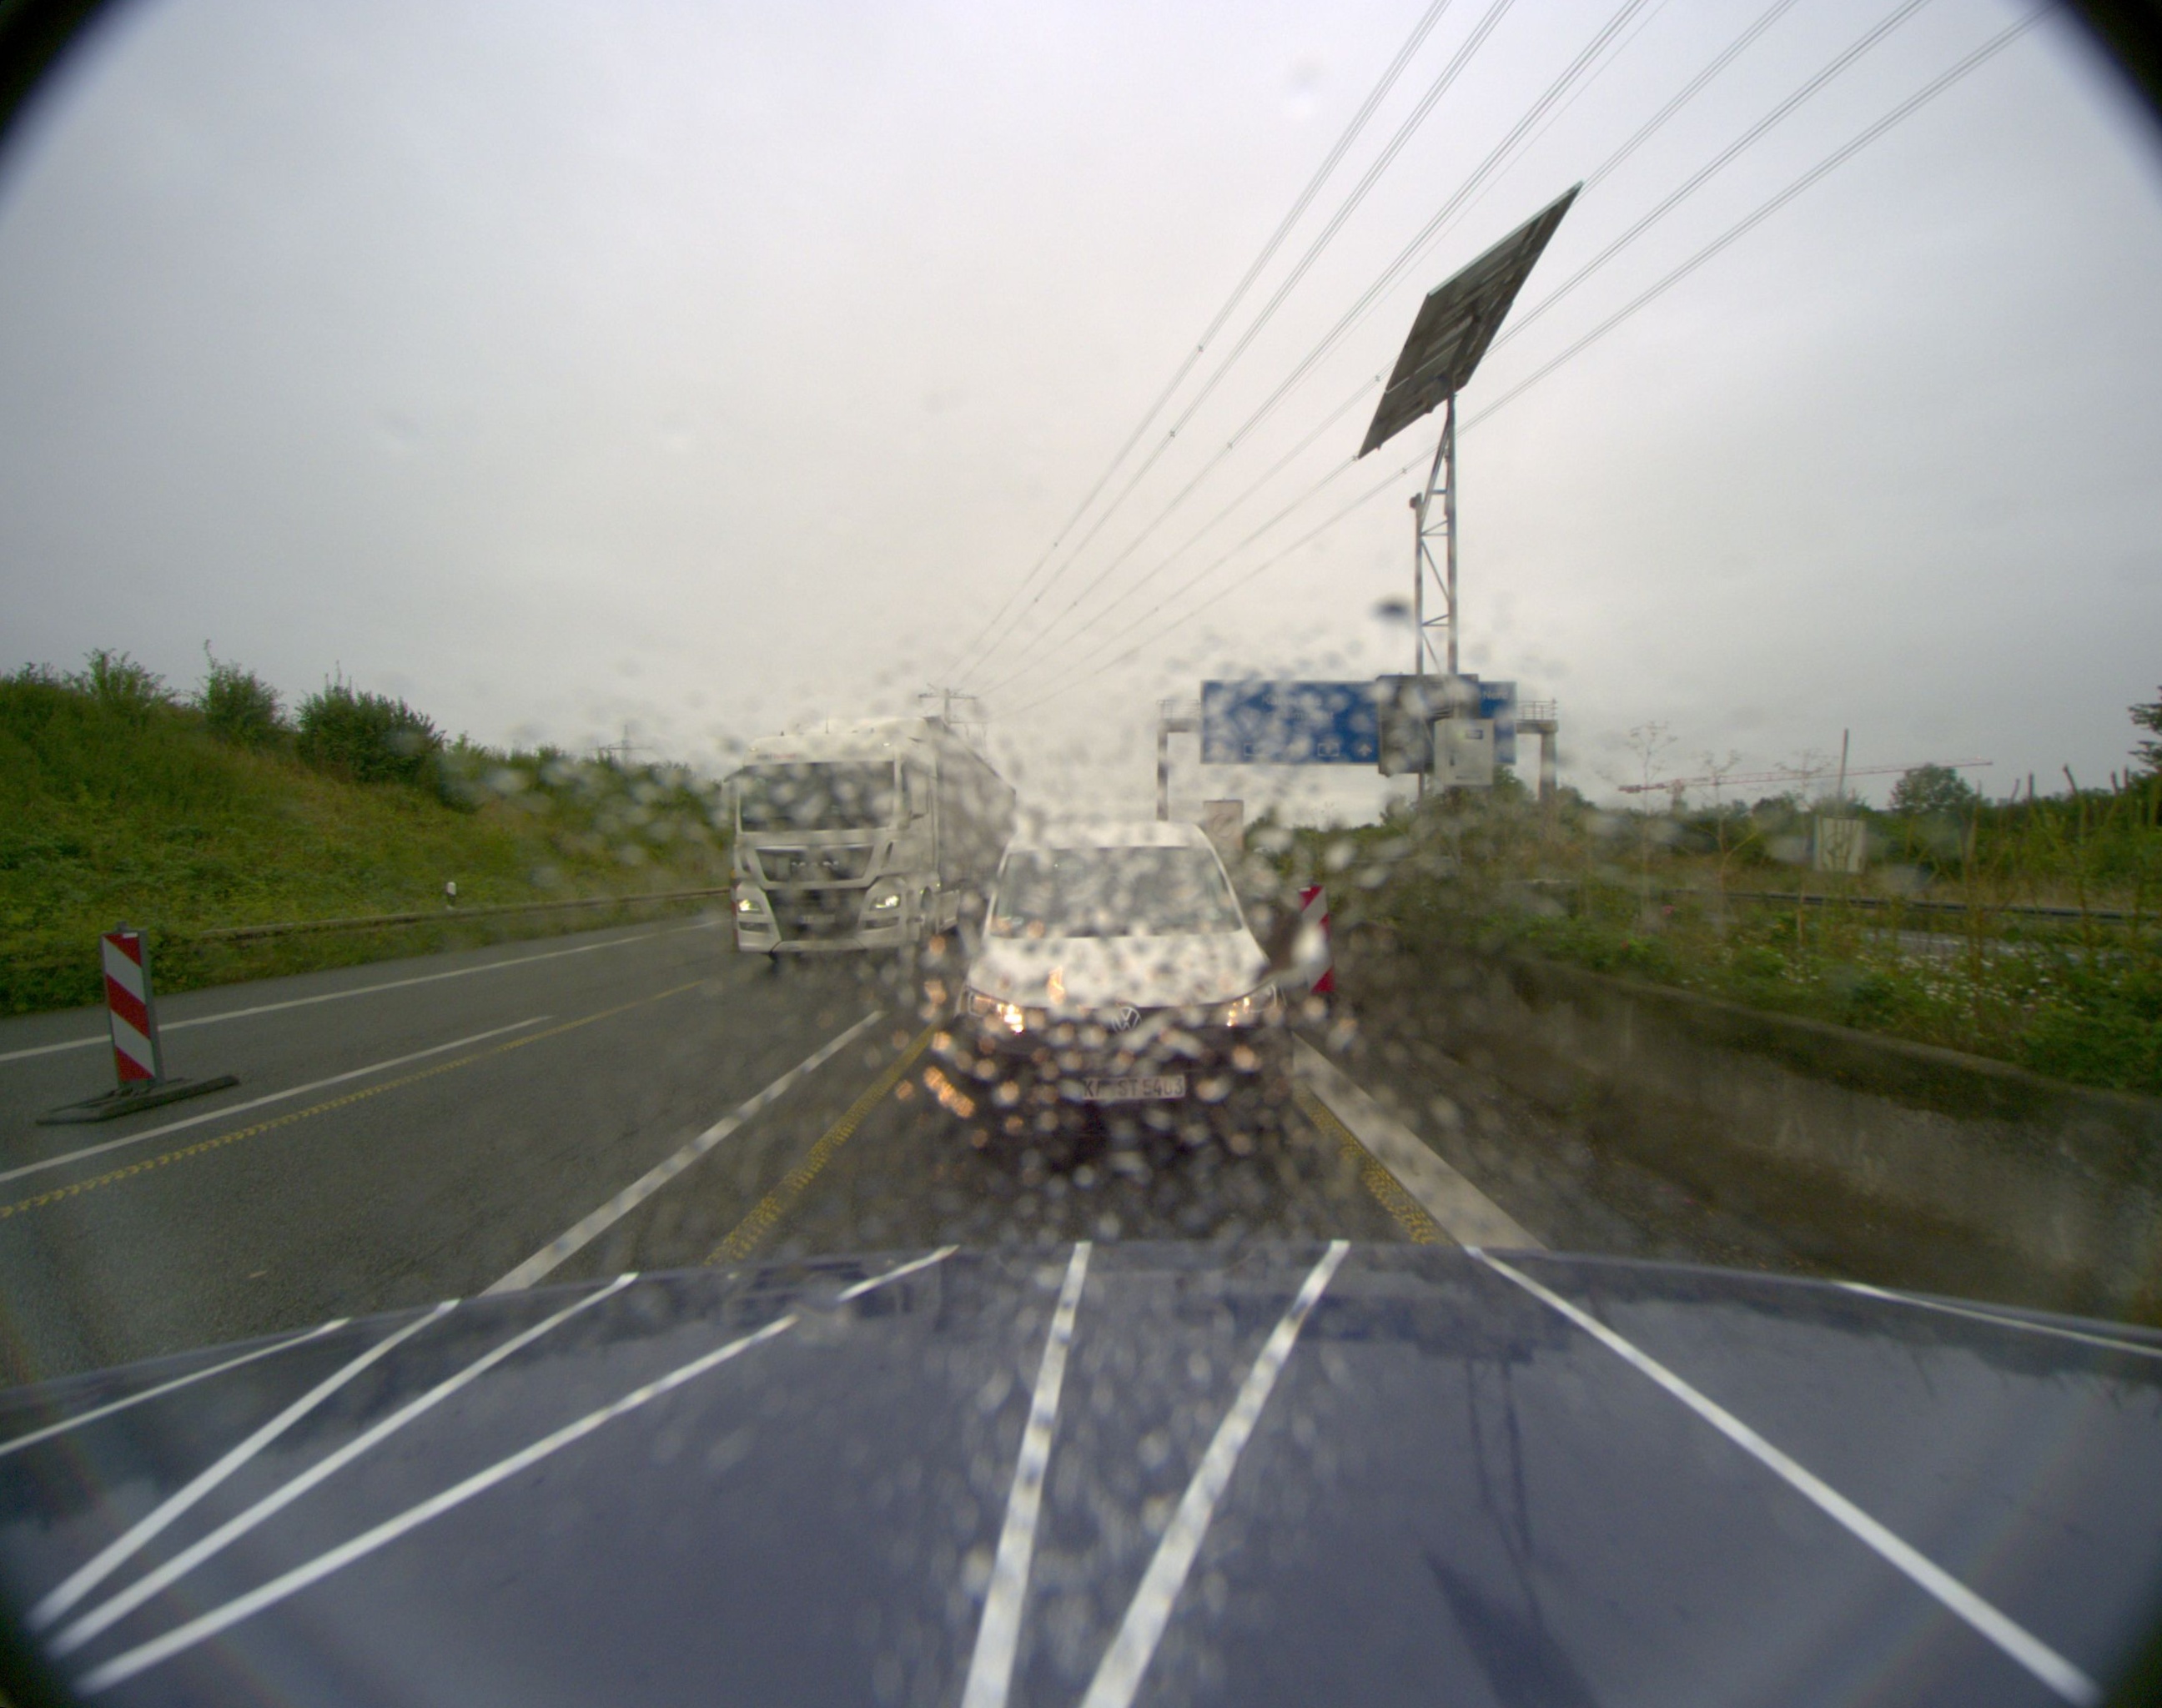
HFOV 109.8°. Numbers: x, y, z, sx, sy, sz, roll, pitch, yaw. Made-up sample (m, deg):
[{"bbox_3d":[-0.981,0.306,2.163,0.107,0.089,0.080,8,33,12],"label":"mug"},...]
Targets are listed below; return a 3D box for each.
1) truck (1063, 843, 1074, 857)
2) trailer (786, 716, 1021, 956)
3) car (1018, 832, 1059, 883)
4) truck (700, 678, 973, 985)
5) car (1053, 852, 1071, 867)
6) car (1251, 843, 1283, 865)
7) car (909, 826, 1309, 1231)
[{"bbox_3d":[-3.488,-1.125,220.609,2.875,4.007,8.309,-1,0,1],"label":"truck"},{"bbox_3d":[-3.633,-0.331,20.099,2.713,4.122,13.731,-1,0,1],"label":"trailer"},{"bbox_3d":[-2.428,0.191,44.389,1.998,2.766,5.756,-1,0,0],"label":"car"},{"bbox_3d":[-3.730,-0.304,13.187,2.713,4.114,5.690,-1,0,1],"label":"truck"},{"bbox_3d":[-1.930,0.554,79.160,1.804,1.523,4.149,-1,0,-1],"label":"car"},{"bbox_3d":[18.307,-0.030,74.944,1.998,2.002,5.059,-1,0,1],"label":"car"},{"bbox_3d":[0.157,0.791,5.622,1.768,1.803,4.345,-1,0,1],"label":"car"}]
